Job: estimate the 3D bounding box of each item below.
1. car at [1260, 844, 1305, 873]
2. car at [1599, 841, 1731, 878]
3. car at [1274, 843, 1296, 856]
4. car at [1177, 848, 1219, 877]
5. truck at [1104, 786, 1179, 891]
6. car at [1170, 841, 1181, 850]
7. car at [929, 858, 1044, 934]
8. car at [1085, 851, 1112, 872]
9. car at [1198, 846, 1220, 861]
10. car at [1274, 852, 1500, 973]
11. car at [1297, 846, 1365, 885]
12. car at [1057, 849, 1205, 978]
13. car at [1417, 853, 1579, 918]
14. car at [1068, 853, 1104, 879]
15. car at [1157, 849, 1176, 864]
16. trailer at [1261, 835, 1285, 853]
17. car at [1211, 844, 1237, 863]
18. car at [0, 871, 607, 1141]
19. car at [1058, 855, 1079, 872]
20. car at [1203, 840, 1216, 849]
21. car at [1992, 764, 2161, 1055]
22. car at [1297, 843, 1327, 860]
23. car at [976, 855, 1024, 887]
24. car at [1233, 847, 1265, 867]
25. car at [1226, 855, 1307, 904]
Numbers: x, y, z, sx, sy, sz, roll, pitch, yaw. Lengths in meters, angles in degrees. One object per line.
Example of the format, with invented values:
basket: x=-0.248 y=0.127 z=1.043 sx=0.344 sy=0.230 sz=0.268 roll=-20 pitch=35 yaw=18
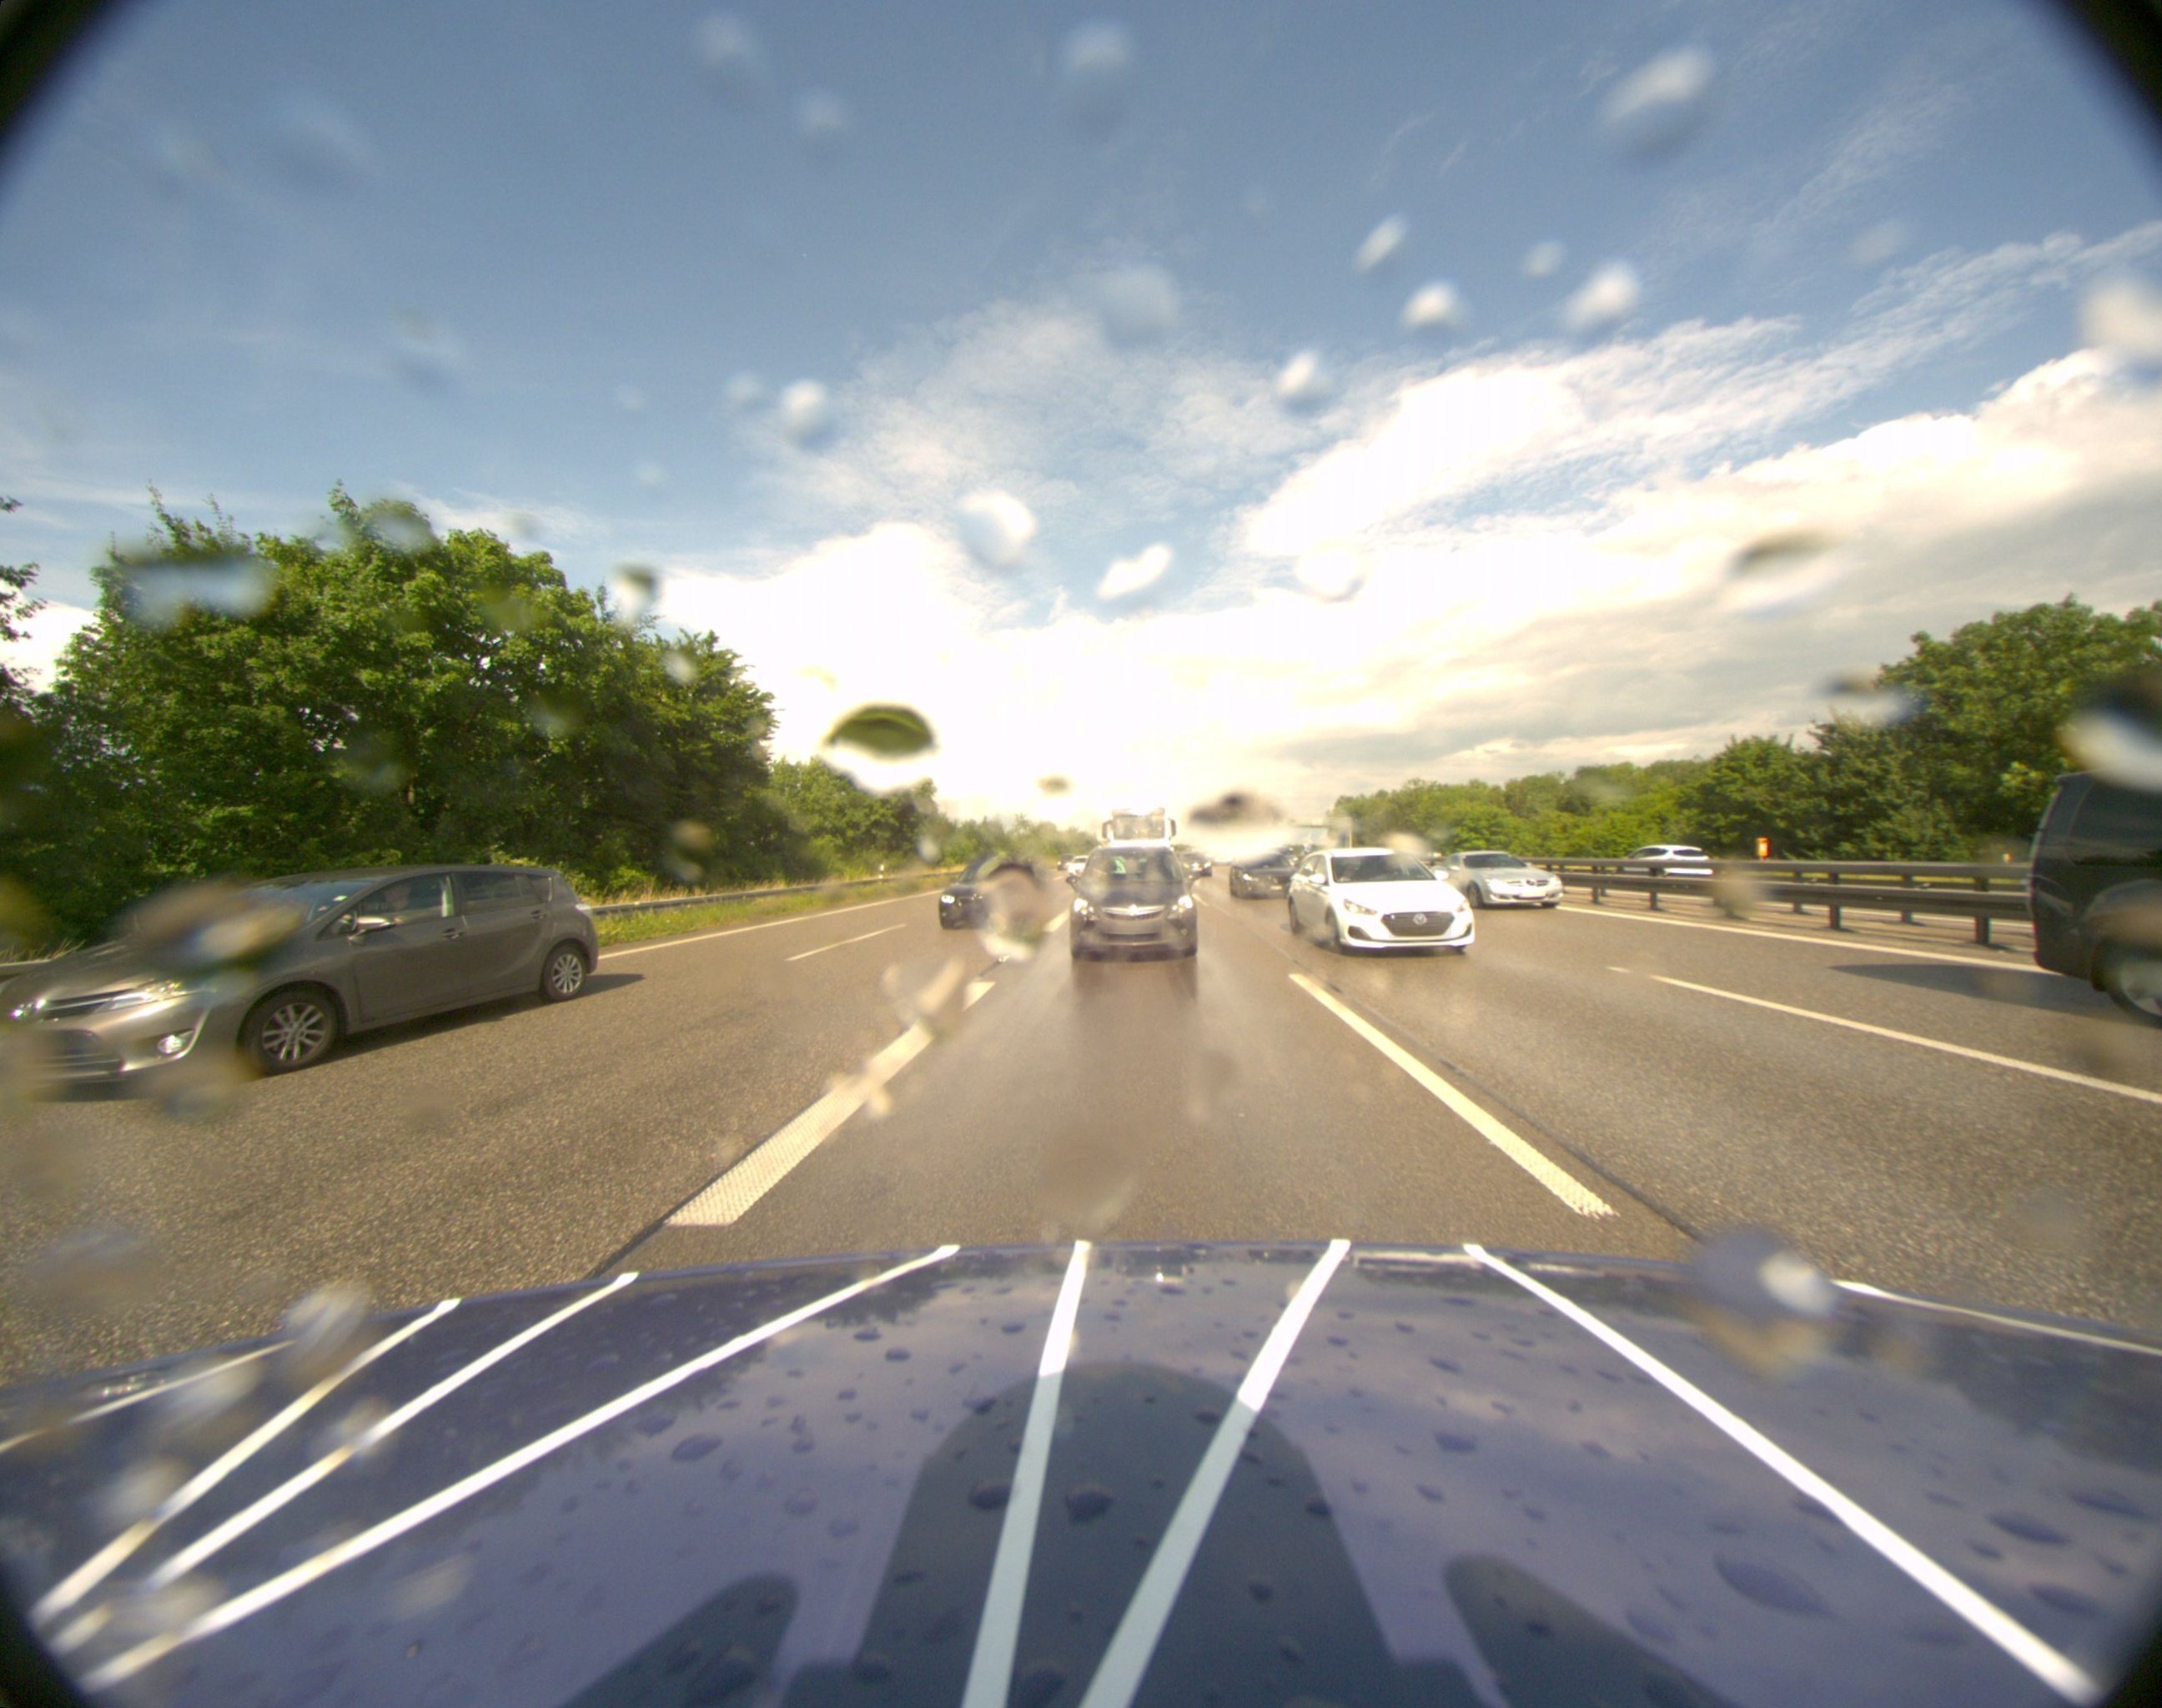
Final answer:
car: x=11.916 y=0.229 z=45.206 sx=1.874 sy=1.597 sz=4.229 roll=-2 pitch=1 yaw=5
car: x=25.955 y=0.212 z=34.046 sx=2.122 sy=1.478 sz=5.037 roll=-2 pitch=0 yaw=1
car: x=28.968 y=-0.587 z=108.030 sx=1.998 sy=1.723 sz=4.946 roll=-2 pitch=0 yaw=4
car: x=6.875 y=0.465 z=44.865 sx=1.998 sy=1.477 sz=4.000 roll=-3 pitch=1 yaw=3
truck: x=2.761 y=-0.659 z=34.135 sx=2.816 sy=4.083 sz=7.447 roll=-2 pitch=1 yaw=5
car: x=19.134 y=-1.704 z=154.253 sx=1.998 sy=1.687 sz=4.000 roll=-3 pitch=1 yaw=3
car: x=-2.053 y=0.887 z=17.761 sx=1.852 sy=1.455 sz=4.256 roll=-1 pitch=1 yaw=4
car: x=1.508 y=0.592 z=62.557 sx=1.998 sy=1.572 sz=4.654 roll=-2 pitch=0 yaw=4
car: x=14.591 y=-0.059 z=86.541 sx=1.998 sy=1.471 sz=4.000 roll=-3 pitch=1 yaw=3
car: x=4.402 y=0.736 z=11.787 sx=1.885 sy=1.446 sz=4.549 roll=-2 pitch=0 yaw=4
car: x=10.385 y=0.435 z=31.836 sx=1.770 sy=1.417 sz=4.139 roll=-2 pitch=1 yaw=5
car: x=0.792 y=0.769 z=12.129 sx=1.883 sy=1.638 sz=4.397 roll=-2 pitch=0 yaw=4
car: x=9.522 y=0.653 z=17.754 sx=1.728 sy=1.270 sz=4.064 roll=-2 pitch=0 yaw=4
car: x=0.379 y=0.703 z=46.797 sx=1.830 sy=1.417 sz=4.512 roll=-2 pitch=1 yaw=5
car: x=9.831 y=0.255 z=87.598 sx=1.998 sy=1.471 sz=4.000 roll=-3 pitch=1 yaw=3
trailer: x=36.187 y=-1.876 z=143.552 sx=2.736 sy=3.362 sz=9.564 roll=-2 pitch=0 yaw=5
car: x=14.012 y=-0.065 z=74.623 sx=1.998 sy=1.739 sz=4.000 roll=-3 pitch=1 yaw=3
car: x=-6.849 y=1.045 z=7.104 sx=1.792 sy=1.603 sz=4.386 roll=-2 pitch=0 yaw=4
car: x=-1.266 y=0.985 z=77.991 sx=1.825 sy=1.611 sz=4.364 roll=-2 pitch=0 yaw=3
car: x=25.459 y=-1.865 z=150.295 sx=1.998 sy=1.768 sz=4.462 roll=-2 pitch=0 yaw=4
car: x=8.322 y=0.366 z=3.552 sx=1.998 sy=2.002 sz=5.270 roll=-2 pitch=0 yaw=4
car: x=23.310 y=-0.278 z=76.667 sx=1.998 sy=1.619 sz=4.000 roll=-1 pitch=1 yaw=3
car: x=-4.292 y=0.854 z=40.871 sx=1.852 sy=1.559 sz=4.000 roll=-1 pitch=1 yaw=4
car: x=12.828 y=0.196 z=58.082 sx=1.771 sy=1.371 sz=4.000 roll=-1 pitch=1 yaw=3
car: x=5.740 y=0.748 z=23.998 sx=1.728 sy=1.330 sz=4.288 roll=-2 pitch=0 yaw=4
